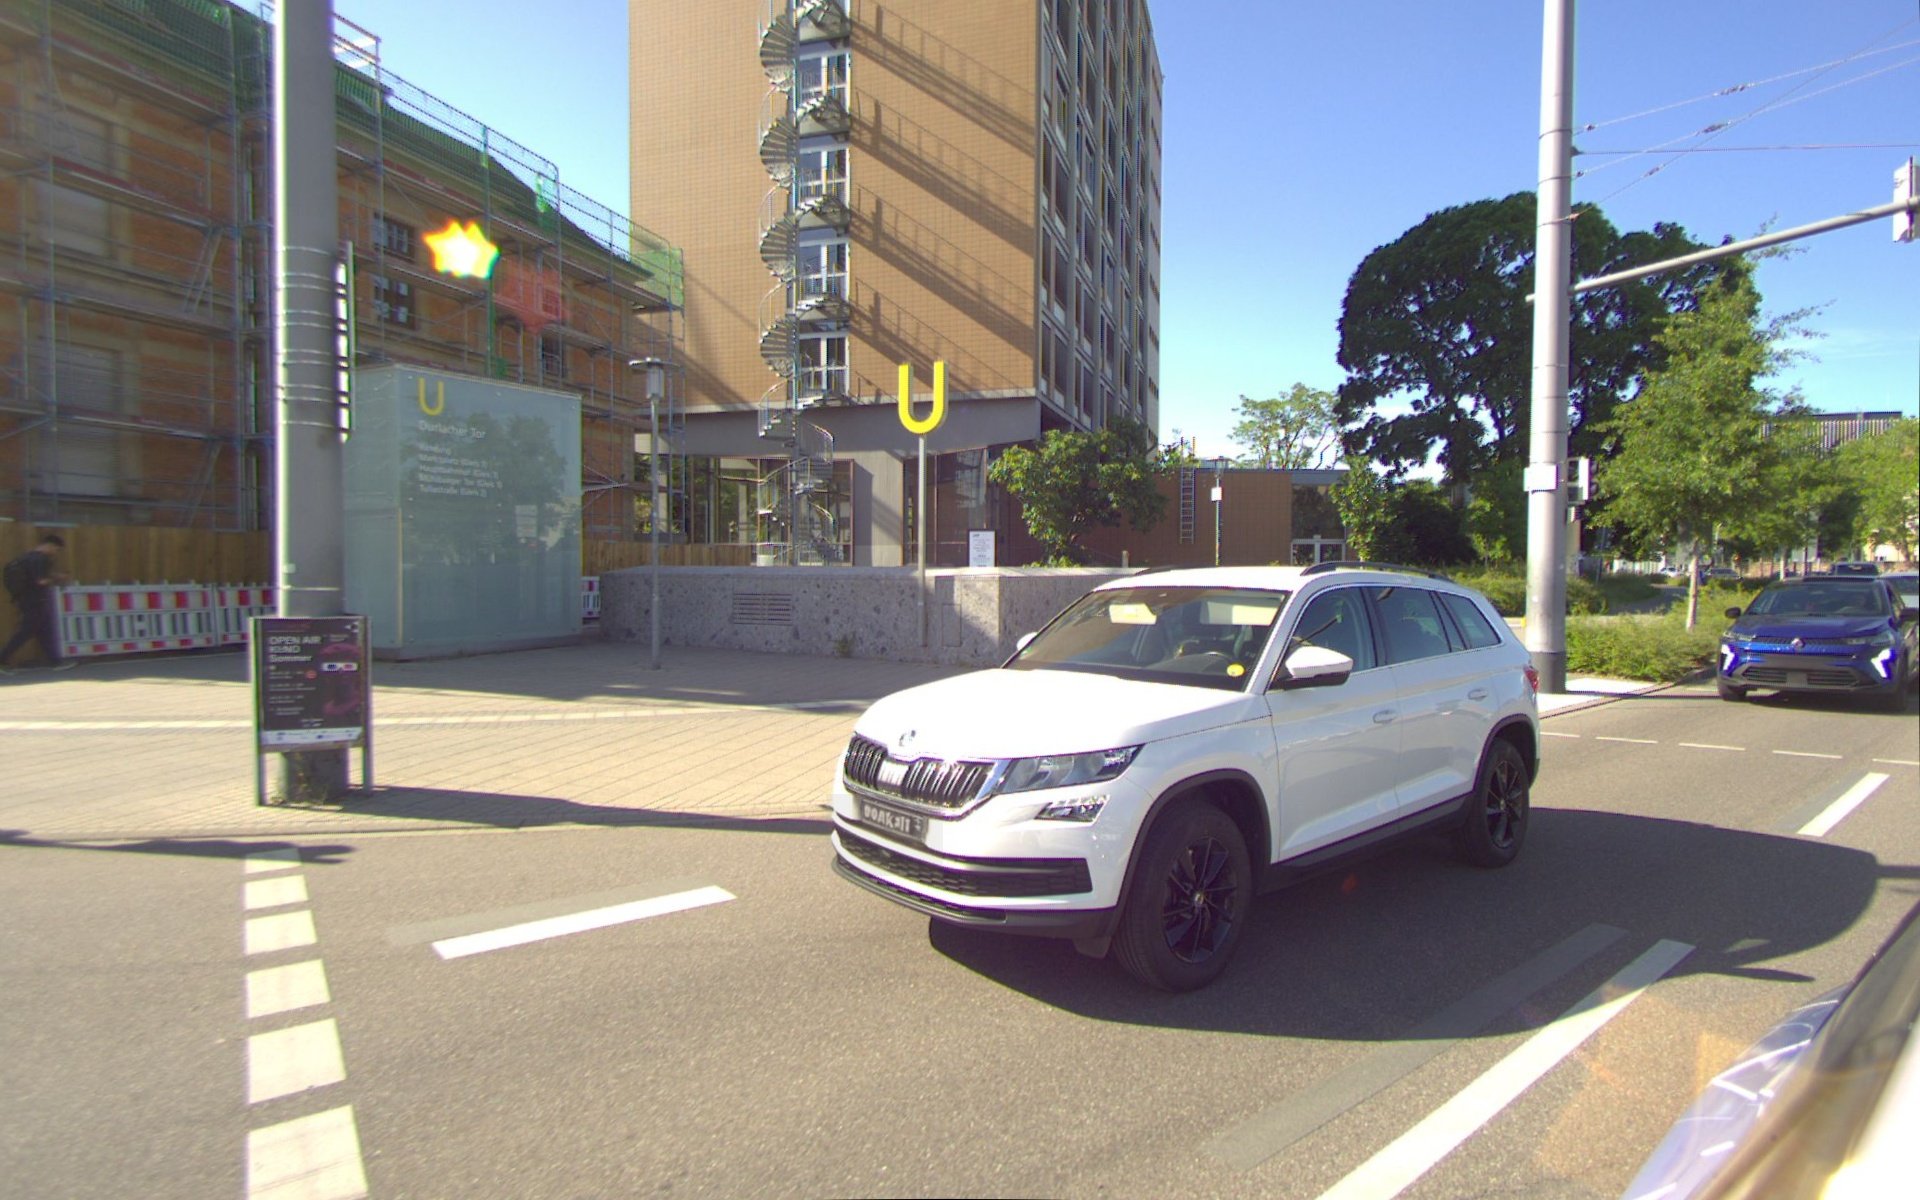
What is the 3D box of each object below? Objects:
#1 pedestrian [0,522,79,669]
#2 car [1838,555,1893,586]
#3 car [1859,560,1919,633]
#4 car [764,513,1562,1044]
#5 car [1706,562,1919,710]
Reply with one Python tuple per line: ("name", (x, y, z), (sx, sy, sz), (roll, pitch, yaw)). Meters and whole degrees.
("pedestrian", (-11.978, -0.059, 12.955), (0.770, 1.810, 0.823), (-1, 0, 28))
("car", (45.082, -1.461, 50.470), (1.914, 1.476, 4.601), (-1, 1, 41))
("car", (23.107, -0.137, 24.252), (3.944, 1.650, 1.884), (-2, 1, -42))
("car", (1.342, 0.568, 5.316), (4.319, 1.666, 1.867), (0, -1, -41))
("car", (11.420, 0.353, 13.261), (3.944, 1.650, 1.884), (-2, 1, -42))
